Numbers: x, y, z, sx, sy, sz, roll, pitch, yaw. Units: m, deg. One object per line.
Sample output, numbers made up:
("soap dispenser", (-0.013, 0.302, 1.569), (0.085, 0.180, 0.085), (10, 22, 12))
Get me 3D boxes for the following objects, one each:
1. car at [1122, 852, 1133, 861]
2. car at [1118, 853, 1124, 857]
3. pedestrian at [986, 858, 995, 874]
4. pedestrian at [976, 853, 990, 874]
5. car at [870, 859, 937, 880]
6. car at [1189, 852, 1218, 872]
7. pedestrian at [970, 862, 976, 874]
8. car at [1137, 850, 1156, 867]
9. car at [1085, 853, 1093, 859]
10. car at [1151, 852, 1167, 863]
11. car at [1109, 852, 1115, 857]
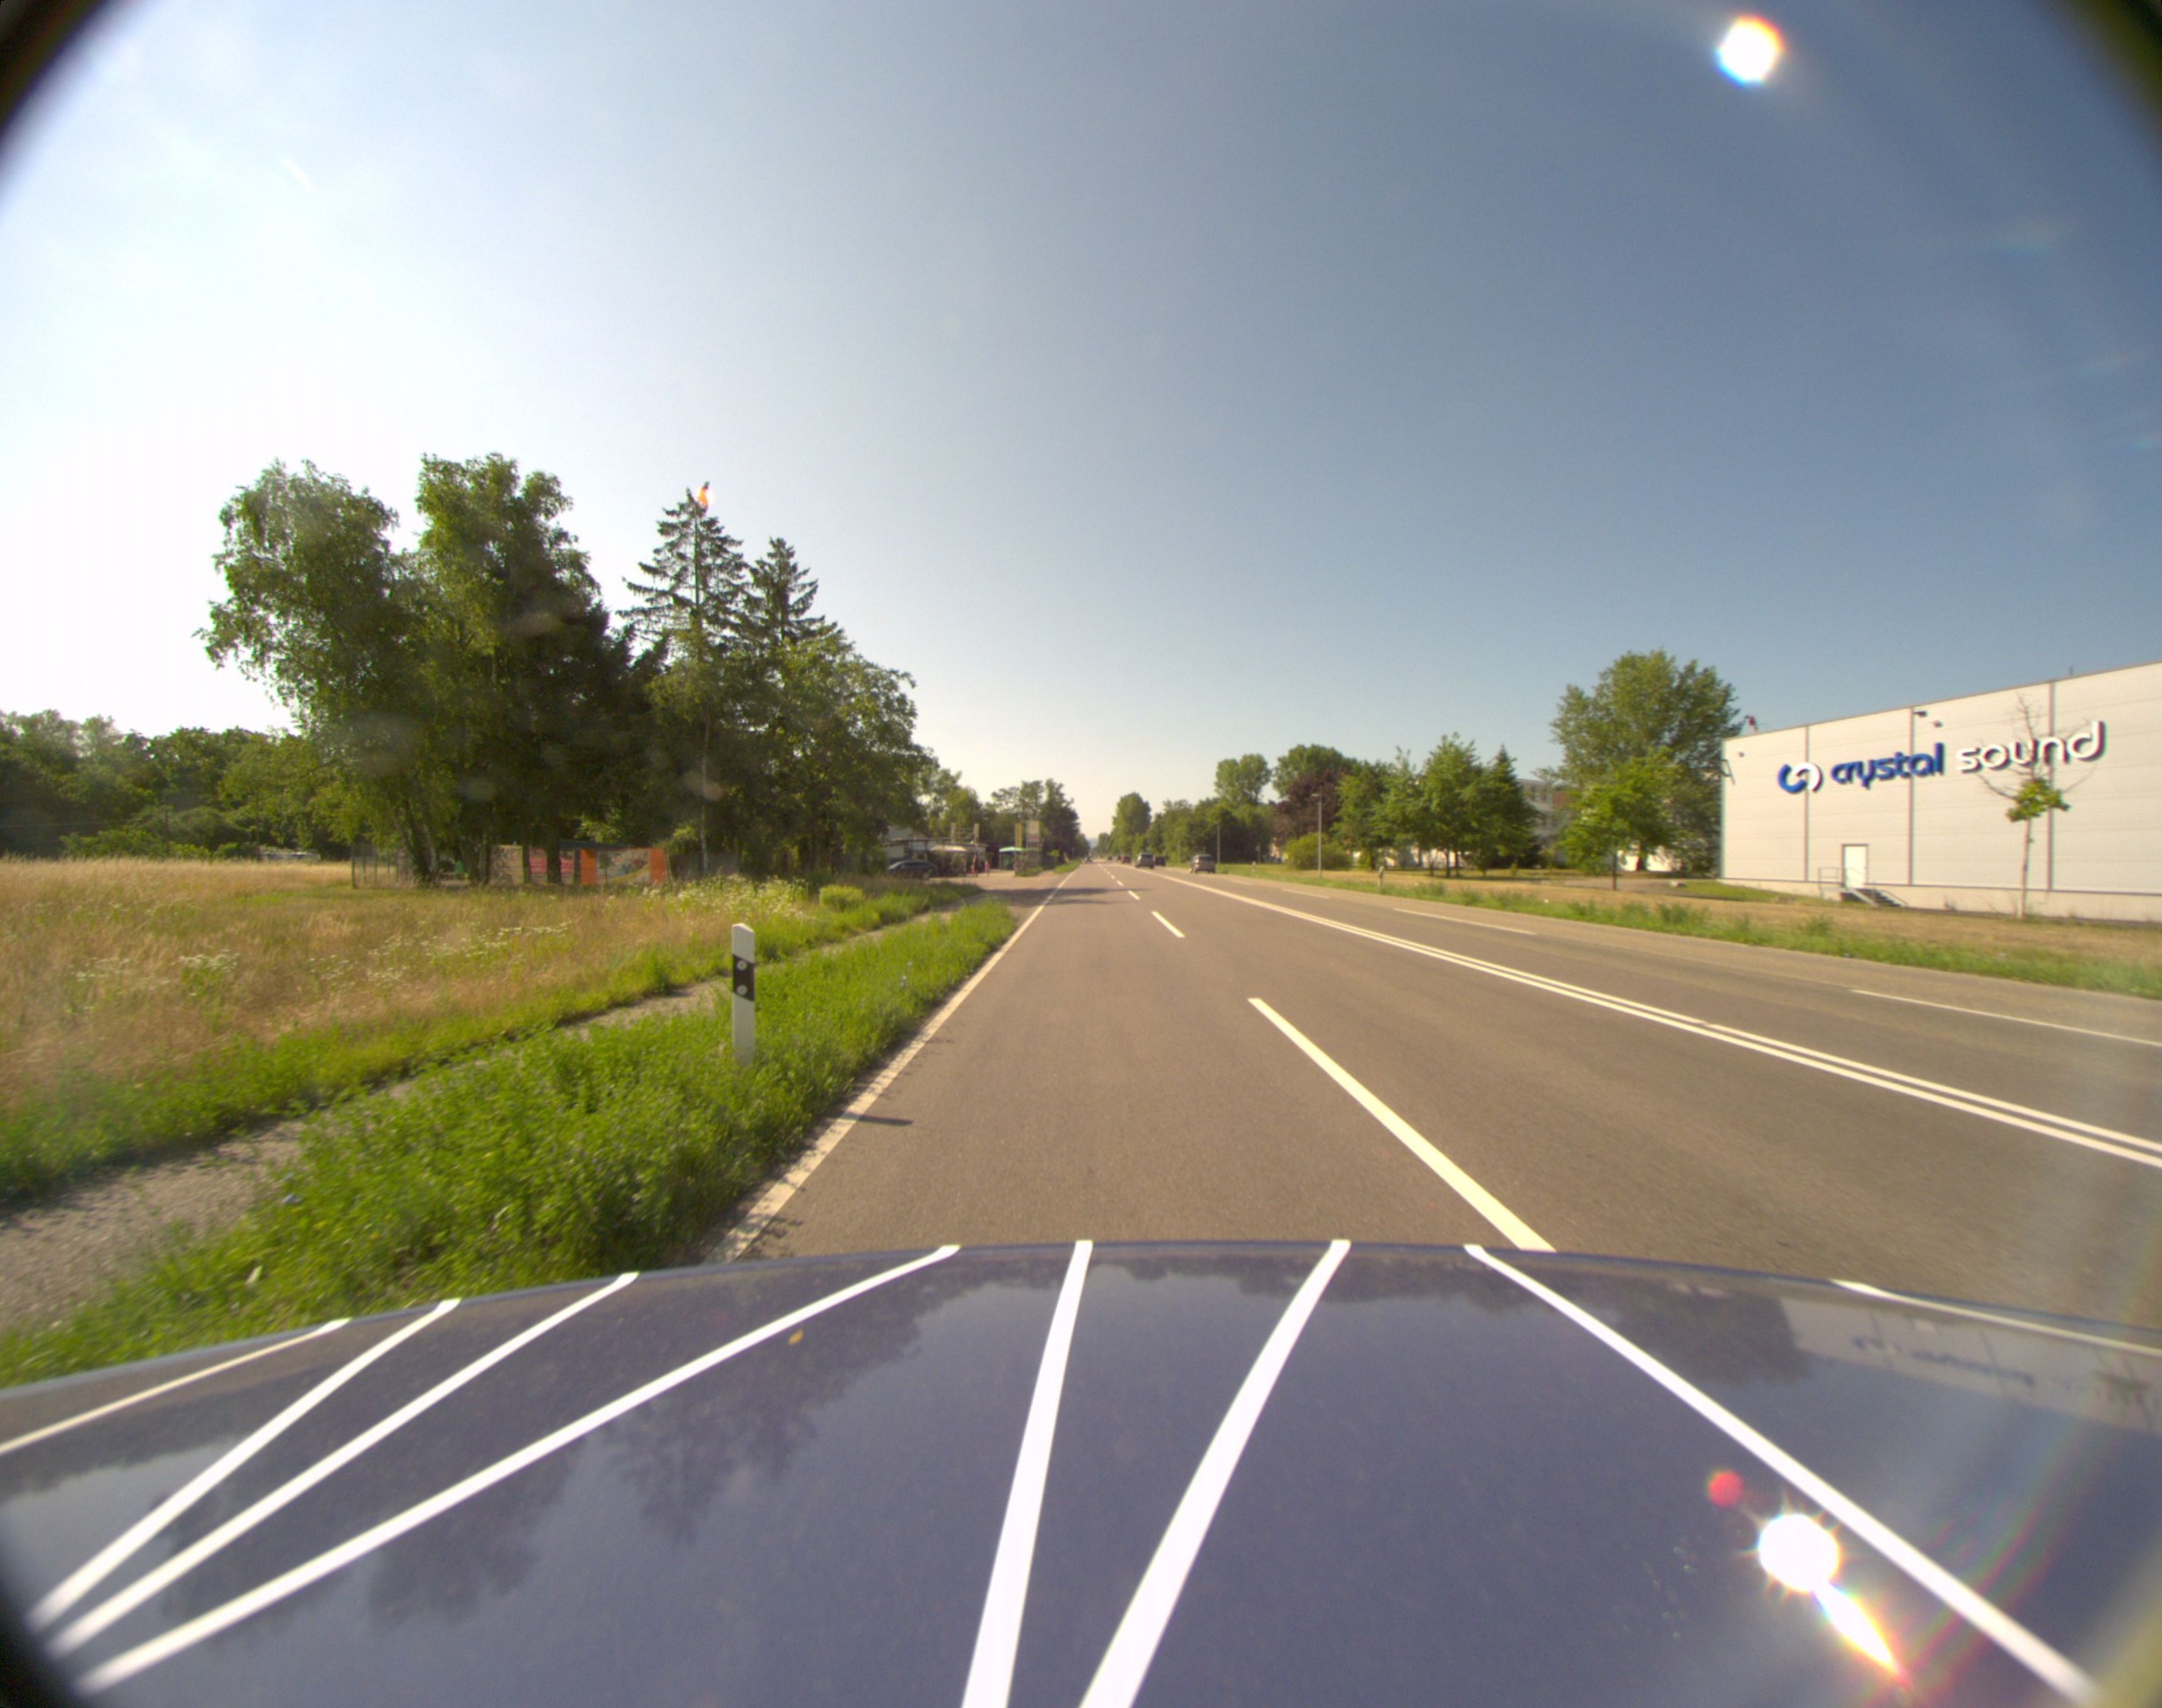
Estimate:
("car", (8.325, 0.386, 136.514), (1.654, 1.489, 3.844), (2, 0, 0))
("car", (12.365, 0.277, 237.659), (1.768, 1.403, 4.001), (0, -1, 1))
("pedestrian", (-7.818, 1.027, 65.728), (0.725, 1.330, 0.825), (0, 1, -11))
("pedestrian", (-8.316, 0.824, 64.484), (1.100, 1.775, 0.935), (0, 1, -11))
("car", (-12.845, 1.113, 55.053), (4.470, 1.422, 1.711), (-1, 0, -28))
("car", (10.421, 0.647, 64.834), (1.733, 1.552, 4.215), (2, 0, 0))
("pedestrian", (-9.075, 1.204, 64.025), (0.470, 0.978, 0.338), (0, 1, -11))
("car", (7.191, 0.474, 83.487), (1.776, 1.704, 4.569), (2, 0, 1))
("car", (2.025, 0.558, 188.948), (1.768, 1.403, 4.001), (0, -1, 1))
("car", (10.689, 0.453, 104.025), (1.656, 1.472, 4.740), (2, 0, 0))
("car", (9.474, 0.168, 232.356), (1.768, 1.403, 4.174), (0, -1, 1))
